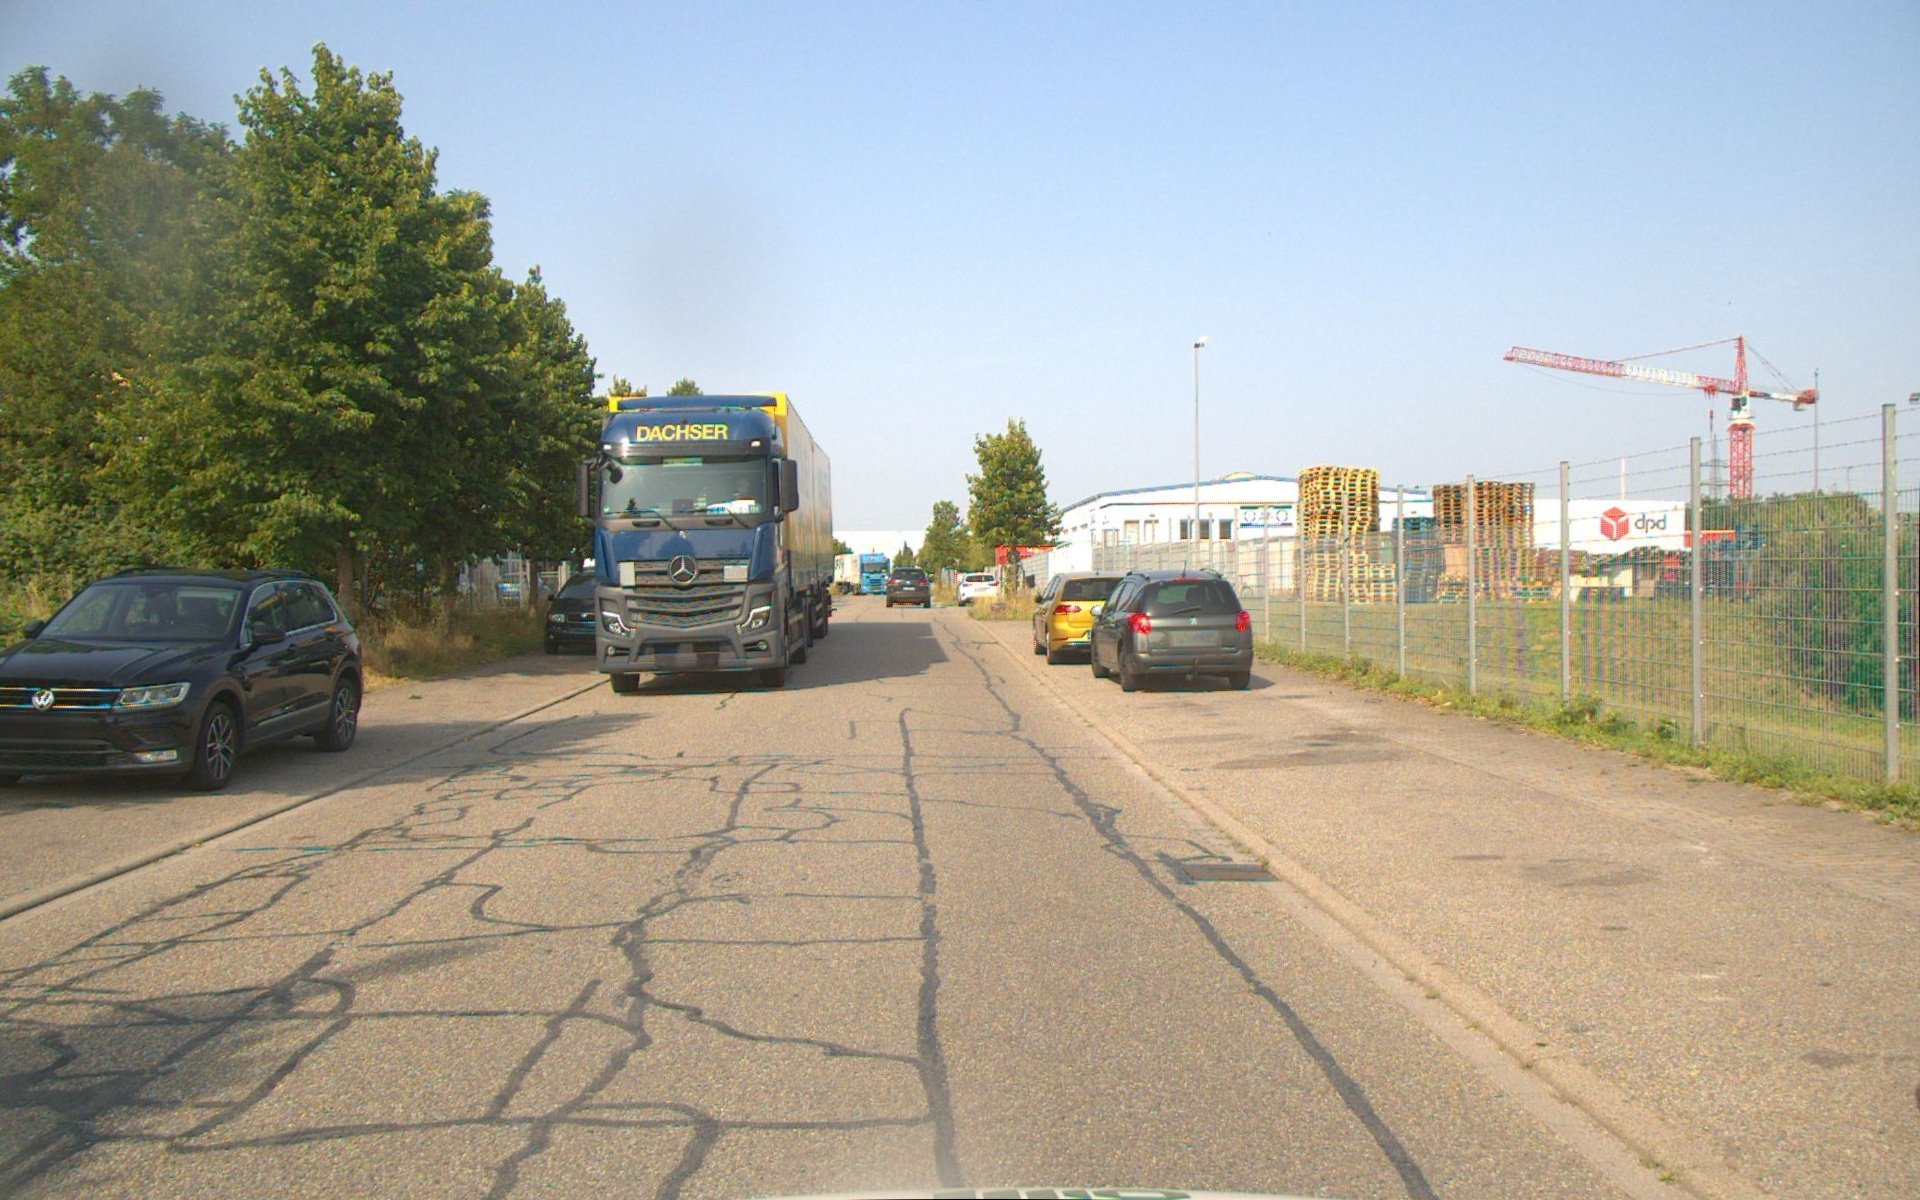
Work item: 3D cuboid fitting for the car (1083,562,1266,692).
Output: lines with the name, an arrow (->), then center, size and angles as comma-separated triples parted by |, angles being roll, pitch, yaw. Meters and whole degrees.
car -> 2.807, 0.304, 22.503 | 1.681, 1.541, 4.001 | -2, 1, -4

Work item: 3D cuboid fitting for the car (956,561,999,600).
car -> 0.756, -0.873, 73.821 | 1.680, 1.709, 3.948 | 0, 1, -3

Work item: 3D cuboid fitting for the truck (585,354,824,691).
truck -> -3.675, -1.070, 26.299 | 2.448, 4.217, 10.375 | -2, 1, -2

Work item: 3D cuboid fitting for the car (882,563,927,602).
car -> -2.386, -0.738, 70.586 | 1.843, 1.614, 4.111 | 0, 0, -3

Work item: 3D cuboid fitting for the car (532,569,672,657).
car -> -6.668, 0.197, 31.220 | 1.796, 1.522, 4.049 | 1, 1, -1

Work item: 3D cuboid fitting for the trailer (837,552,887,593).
trailer -> -9.697, -2.668, 162.025 | 2.830, 3.826, 12.036 | 0, 1, -14

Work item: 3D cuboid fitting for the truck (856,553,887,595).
truck -> -8.209, -2.436, 153.725 | 2.822, 3.826, 6.080 | 0, 1, -4

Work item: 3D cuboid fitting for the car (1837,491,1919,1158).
car -> 3.307, 0.554, 2.195 | 1.763, 1.654, 4.447 | -2, 1, -2

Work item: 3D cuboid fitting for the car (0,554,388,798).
car -> -6.386, 0.481, 13.590 | 1.864, 1.654, 4.448 | 1, 1, -1

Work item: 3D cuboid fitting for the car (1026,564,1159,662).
car -> 2.176, 0.174, 28.111 | 1.681, 1.480, 4.185 | -2, 1, -3

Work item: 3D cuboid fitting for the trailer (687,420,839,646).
trailer -> -4.052, -1.339, 35.740 | 2.448, 4.217, 8.493 | -2, 1, -2
